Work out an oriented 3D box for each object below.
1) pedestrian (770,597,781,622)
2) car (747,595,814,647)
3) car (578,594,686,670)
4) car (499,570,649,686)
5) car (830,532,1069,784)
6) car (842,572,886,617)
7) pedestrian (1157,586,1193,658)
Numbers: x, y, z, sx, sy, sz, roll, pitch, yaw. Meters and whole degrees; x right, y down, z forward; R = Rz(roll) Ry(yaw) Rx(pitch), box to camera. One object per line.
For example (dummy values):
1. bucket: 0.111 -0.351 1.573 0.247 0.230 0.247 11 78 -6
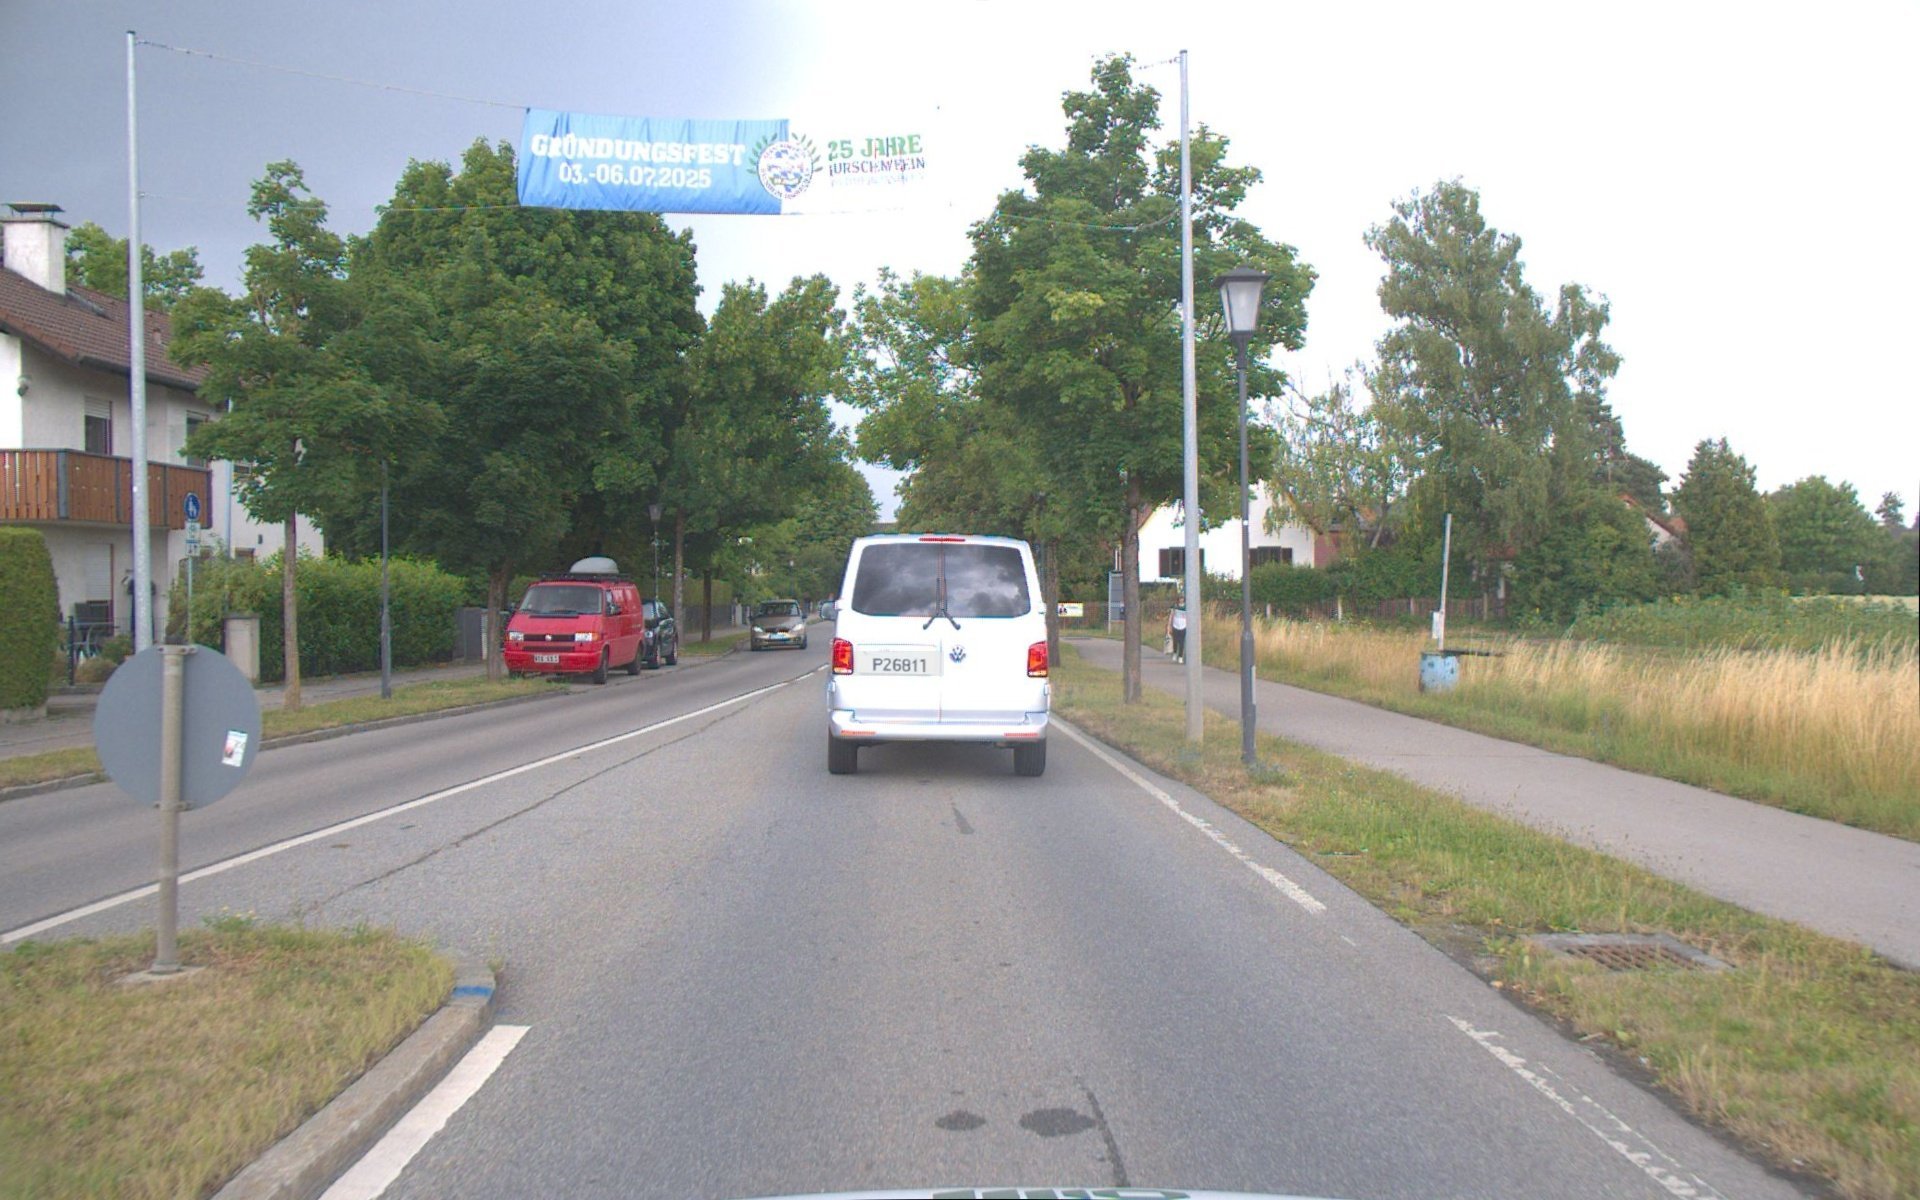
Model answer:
1. pedestrian: -11.552 0.579 103.548 0.610 1.576 0.522 1 -1 -6
2. car: -5.761 0.658 53.426 1.672 1.559 3.508 -2 0 1
3. car: -7.546 0.688 38.373 1.736 1.626 4.237 1 1 -1
4. car: -7.444 0.488 32.404 1.793 2.066 5.045 1 0 -1
5. car: -0.149 0.462 14.884 1.850 1.945 3.998 0 0 -2
6. car: -4.531 -0.229 78.740 1.953 2.049 3.998 1 0 -2
7. pedestrian: 5.400 0.548 41.539 0.820 1.785 0.870 0 0 3
